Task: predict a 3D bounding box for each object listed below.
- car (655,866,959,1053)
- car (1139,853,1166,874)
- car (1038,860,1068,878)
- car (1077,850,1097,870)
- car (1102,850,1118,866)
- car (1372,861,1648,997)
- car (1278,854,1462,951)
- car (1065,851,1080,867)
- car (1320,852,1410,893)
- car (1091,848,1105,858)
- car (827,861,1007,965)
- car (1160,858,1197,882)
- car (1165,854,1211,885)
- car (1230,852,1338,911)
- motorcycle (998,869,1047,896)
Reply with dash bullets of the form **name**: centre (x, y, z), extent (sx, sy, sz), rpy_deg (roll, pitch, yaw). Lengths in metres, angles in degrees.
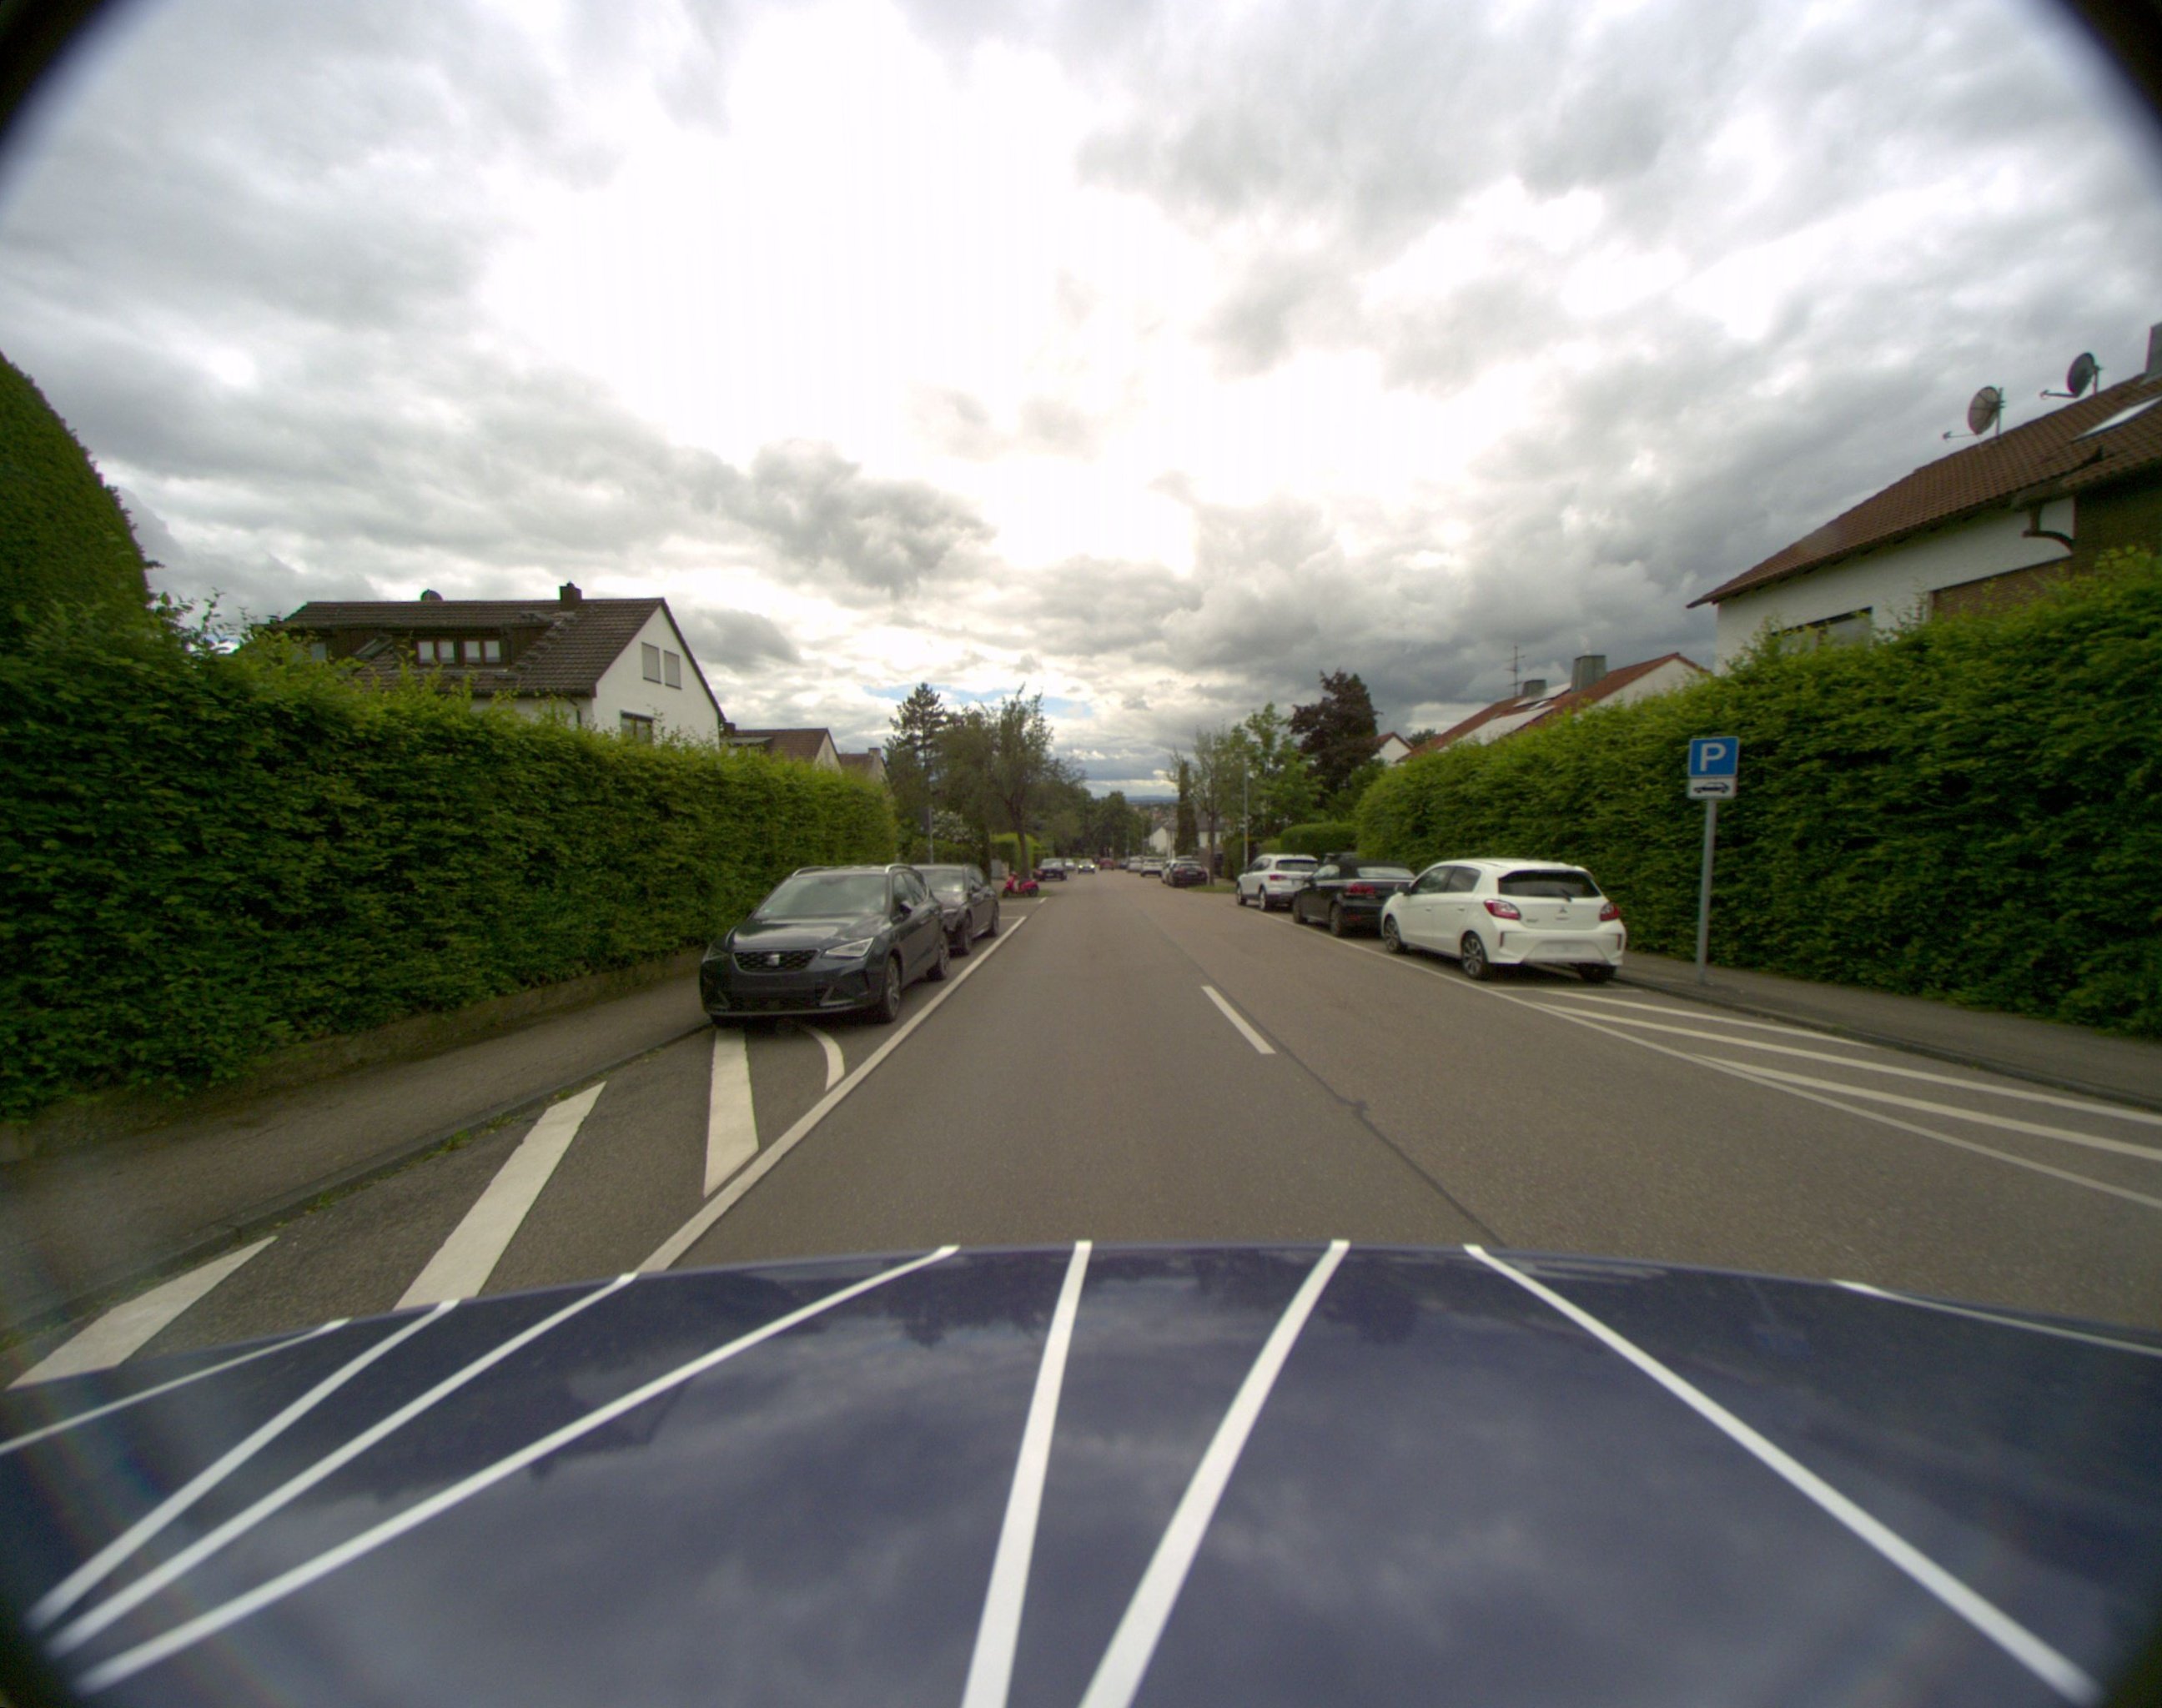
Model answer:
- **car**: centre (-2.640, 0.913, 8.539), extent (1.794, 1.480, 4.378), rpy_deg (0, 0, 0)
- **car**: centre (5.974, 0.781, 63.956), extent (1.935, 1.521, 3.999), rpy_deg (-2, 1, 1)
- **car**: centre (-2.016, 1.070, 56.187), extent (1.998, 1.221, 3.999), rpy_deg (-1, 1, 0)
- **car**: centre (0.607, 0.632, 81.707), extent (1.998, 2.001, 4.000), rpy_deg (-2, -1, 0)
- **car**: centre (3.908, 0.464, 102.533), extent (1.872, 2.002, 3.999), rpy_deg (-3, 1, 0)
- **car**: centre (5.470, 0.854, 10.266), extent (1.694, 1.411, 3.579), rpy_deg (2, 1, 1)
- **car**: centre (5.436, 0.805, 15.058), extent (1.786, 1.481, 4.738), rpy_deg (3, 1, 0)
- **car**: centre (-1.168, 0.698, 103.797), extent (1.747, 2.002, 4.000), rpy_deg (-3, 1, 1)
- **car**: centre (10.677, 0.668, 28.734), extent (2.887, 1.497, 1.499), rpy_deg (0, 1, 5)
- **car**: centre (3.160, -0.195, 143.101), extent (2.000, 1.712, 3.997), rpy_deg (0, 1, -8)
- **car**: centre (-2.711, 0.901, 13.970), extent (1.928, 1.485, 5.209), rpy_deg (0, 0, 3)
- **car**: centre (5.827, 0.933, 45.771), extent (1.725, 1.368, 4.000), rpy_deg (0, 0, 0)
- **car**: centre (5.703, 0.791, 40.877), extent (1.944, 1.540, 4.005), rpy_deg (0, 0, 0)
- **car**: centre (5.523, 0.685, 21.260), extent (1.891, 1.481, 4.342), rpy_deg (0, 0, 0)
- **motorcycle**: centre (-2.495, 1.204, 32.302), extent (1.942, 1.127, 0.658), rpy_deg (1, 1, -27)
